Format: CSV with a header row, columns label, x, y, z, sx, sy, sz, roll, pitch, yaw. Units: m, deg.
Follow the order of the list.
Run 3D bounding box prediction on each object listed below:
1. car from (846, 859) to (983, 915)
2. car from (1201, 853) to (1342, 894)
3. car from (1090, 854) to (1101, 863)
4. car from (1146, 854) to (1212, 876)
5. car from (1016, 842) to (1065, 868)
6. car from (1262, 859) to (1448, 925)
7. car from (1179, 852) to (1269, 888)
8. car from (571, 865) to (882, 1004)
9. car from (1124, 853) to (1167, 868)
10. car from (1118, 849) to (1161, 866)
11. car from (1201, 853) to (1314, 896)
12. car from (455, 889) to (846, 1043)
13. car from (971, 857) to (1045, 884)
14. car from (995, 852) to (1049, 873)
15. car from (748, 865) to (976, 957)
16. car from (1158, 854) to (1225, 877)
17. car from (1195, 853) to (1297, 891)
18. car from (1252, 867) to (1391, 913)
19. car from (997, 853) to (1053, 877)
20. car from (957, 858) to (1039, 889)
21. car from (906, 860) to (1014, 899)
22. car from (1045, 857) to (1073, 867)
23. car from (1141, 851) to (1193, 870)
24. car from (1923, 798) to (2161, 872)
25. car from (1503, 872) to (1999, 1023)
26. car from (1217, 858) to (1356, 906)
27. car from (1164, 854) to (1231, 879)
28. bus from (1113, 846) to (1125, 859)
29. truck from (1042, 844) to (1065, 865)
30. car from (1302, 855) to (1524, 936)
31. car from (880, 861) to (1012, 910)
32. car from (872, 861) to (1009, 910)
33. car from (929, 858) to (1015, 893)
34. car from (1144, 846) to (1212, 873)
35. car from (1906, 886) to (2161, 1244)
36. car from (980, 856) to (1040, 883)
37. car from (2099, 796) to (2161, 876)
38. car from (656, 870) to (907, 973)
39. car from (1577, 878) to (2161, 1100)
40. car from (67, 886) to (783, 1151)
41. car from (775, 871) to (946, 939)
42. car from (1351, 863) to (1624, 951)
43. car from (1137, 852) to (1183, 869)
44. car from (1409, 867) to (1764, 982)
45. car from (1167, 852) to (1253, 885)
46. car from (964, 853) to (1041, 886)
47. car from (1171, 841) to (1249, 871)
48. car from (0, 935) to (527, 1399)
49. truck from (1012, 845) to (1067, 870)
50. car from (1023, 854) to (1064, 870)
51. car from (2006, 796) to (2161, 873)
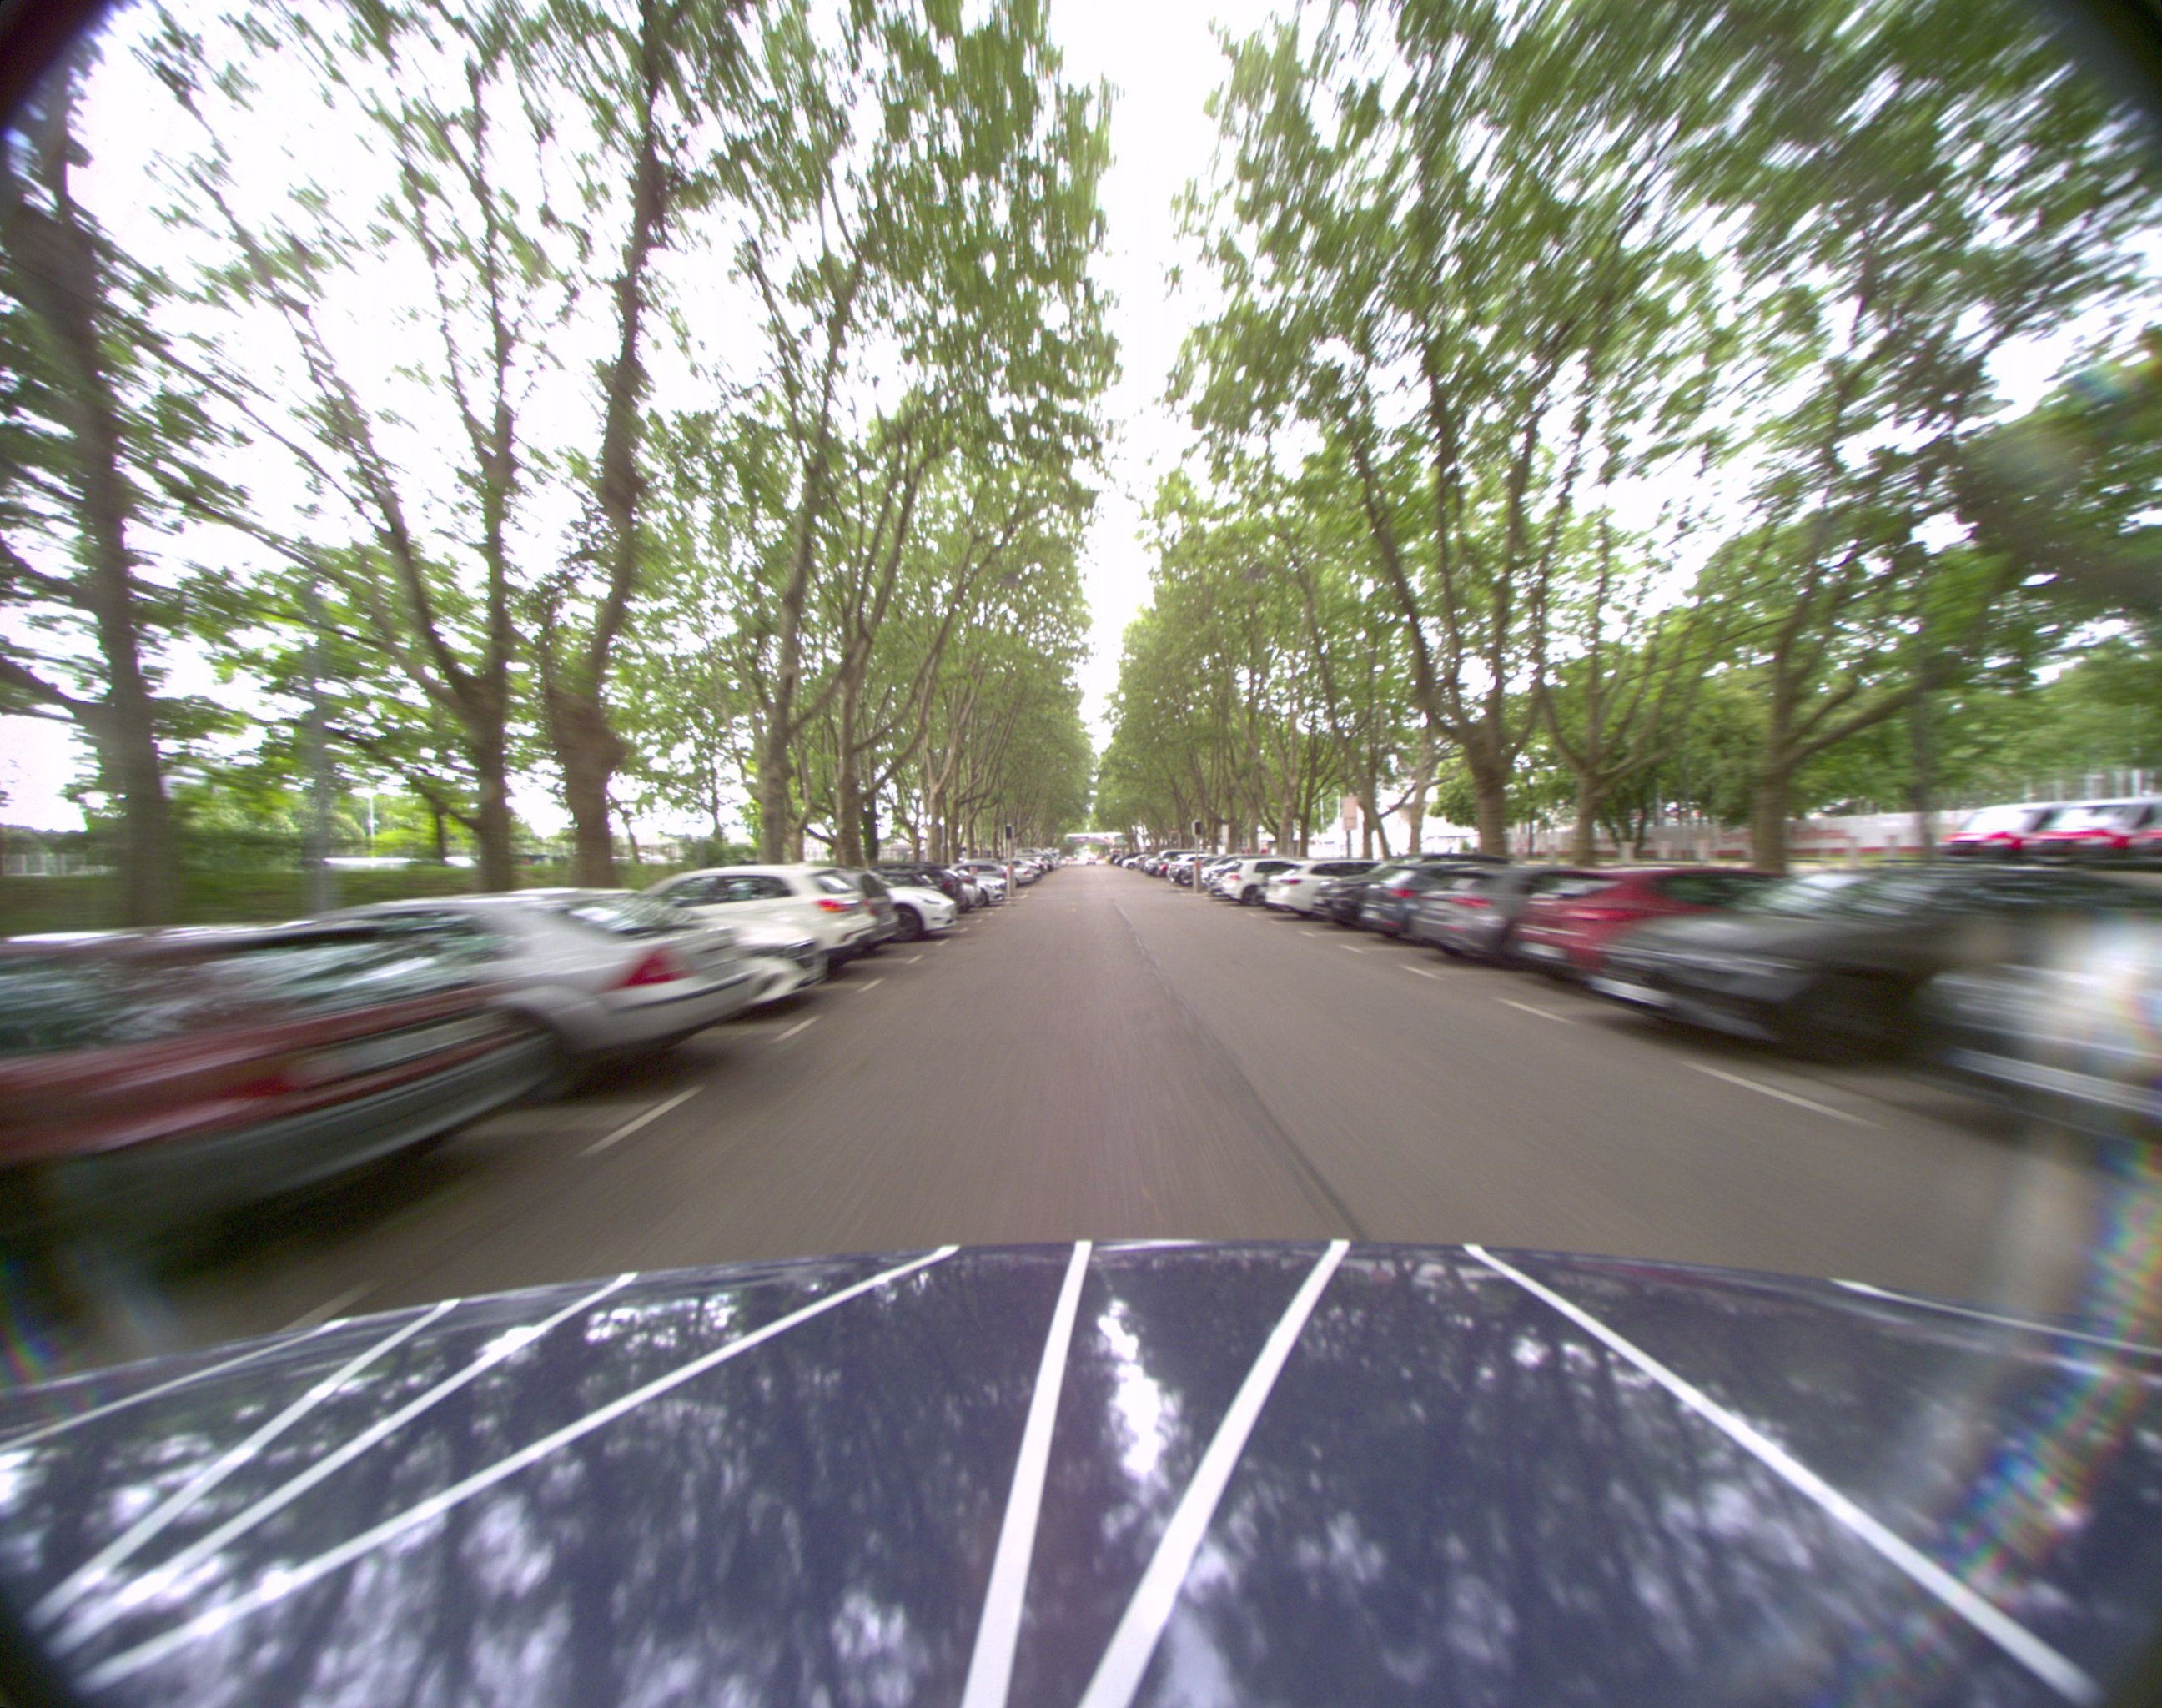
label,x,y,z,sx,sy,sz,roll,pitch,yaw
car,-4.970,0.966,23.089,3.786,1.461,1.623,-3,0,-3
car,6.518,0.654,26.287,4.413,1.357,1.694,0,0,-3
car,2.501,0.761,130.791,1.693,1.462,3.839,0,0,-1
car,6.821,0.744,53.052,4.458,1.444,1.775,0,0,4
car,-4.564,0.098,85.868,5.241,2.673,1.957,-3,0,1
car,6.464,0.869,18.203,3.837,1.488,1.694,0,0,-3
car,6.659,0.731,35.560,3.837,1.598,1.834,0,0,-3
car,-4.896,1.076,10.872,3.655,1.657,1.518,-3,0,-3
car,6.915,0.664,81.298,4.391,1.587,2.000,0,0,-2
car,7.664,0.453,99.353,5.450,2.115,1.940,0,0,-1
car,6.633,0.748,28.767,3.837,1.598,1.694,0,0,-3
car,-4.846,1.231,8.949,3.655,1.402,1.518,-3,0,-3
car,-4.321,0.979,45.545,4.222,1.443,1.610,-3,0,-1
car,-4.513,0.637,58.329,3.997,1.477,1.694,-3,0,-1
car,-4.388,1.122,15.781,4.178,1.587,1.854,-3,0,-3
car,7.017,0.726,48.397,4.007,1.463,1.536,0,0,-4
car,7.137,0.766,33.104,4.054,1.599,1.694,0,1,-3
car,6.609,0.986,21.100,3.325,1.196,1.584,0,0,-3
car,-4.668,0.918,63.929,4.394,1.745,1.801,-3,0,3
car,-4.392,1.038,40.704,4.124,1.461,1.694,-3,0,0
car,-5.213,1.088,33.083,4.377,1.461,1.623,-3,0,-1
car,-3.442,1.288,120.673,4.330,1.294,1.700,-3,0,1
car,7.647,0.587,68.045,4.352,1.658,2.000,1,0,-2
car,33.912,-0.643,26.854,6.017,2.239,2.000,-3,0,0
car,7.026,0.927,8.340,3.835,1.421,1.695,0,0,4
car,6.297,0.850,23.553,3.837,1.421,1.694,0,0,-3
car,7.083,0.727,46.360,3.765,1.466,1.864,1,0,-1
bus,9.665,-0.370,194.500,2.658,3.136,12.369,1,0,2
truck,-4.130,0.135,113.699,2.466,2.920,7.533,-3,0,-8
car,6.824,0.814,15.914,3.838,1.599,1.858,0,0,-3
car,-5.019,1.171,28.725,4.627,1.461,1.649,-4,0,-2
car,-4.633,1.017,25.531,4.309,1.461,1.623,-2,0,-3
car,-5.153,1.015,36.290,3.785,1.461,1.667,-3,0,0
car,7.373,0.426,58.070,4.907,2.007,1.919,0,1,-3
car,6.385,0.901,3.306,3.837,1.421,1.693,0,1,-3
car,-4.698,0.992,50.637,3.837,1.598,1.694,-3,0,-1
car,33.751,-0.644,21.931,6.017,2.304,2.000,-3,0,0
car,-5.112,1.126,13.283,3.654,1.510,1.644,-3,0,3
car,6.447,0.927,5.978,4.032,1.421,1.694,0,0,-3
car,-4.532,1.074,5.847,3.655,1.415,1.985,-3,0,-3
car,-5.209,1.192,18.297,3.655,1.363,1.518,-3,0,-3
car,6.984,0.881,13.333,3.837,1.421,1.802,0,0,-1
car,7.306,0.584,70.169,3.998,1.467,1.842,1,0,-2
car,6.822,0.903,10.522,3.837,1.421,1.694,0,0,-3
car,6.441,0.715,38.359,4.077,1.598,1.799,0,0,2
car,-4.446,0.888,43.277,4.123,1.660,1.694,-3,0,1
car,6.913,0.108,41.100,3.837,1.618,1.952,0,0,-3
car,-4.763,1.224,3.329,3.434,1.415,1.518,-3,0,-3
truck,-4.895,0.427,91.048,6.309,2.699,2.098,-3,0,2
car,-3.957,0.851,80.612,4.129,1.420,1.703,-4,1,2
car,33.866,-0.678,24.325,6.017,2.239,2.000,-3,0,0
